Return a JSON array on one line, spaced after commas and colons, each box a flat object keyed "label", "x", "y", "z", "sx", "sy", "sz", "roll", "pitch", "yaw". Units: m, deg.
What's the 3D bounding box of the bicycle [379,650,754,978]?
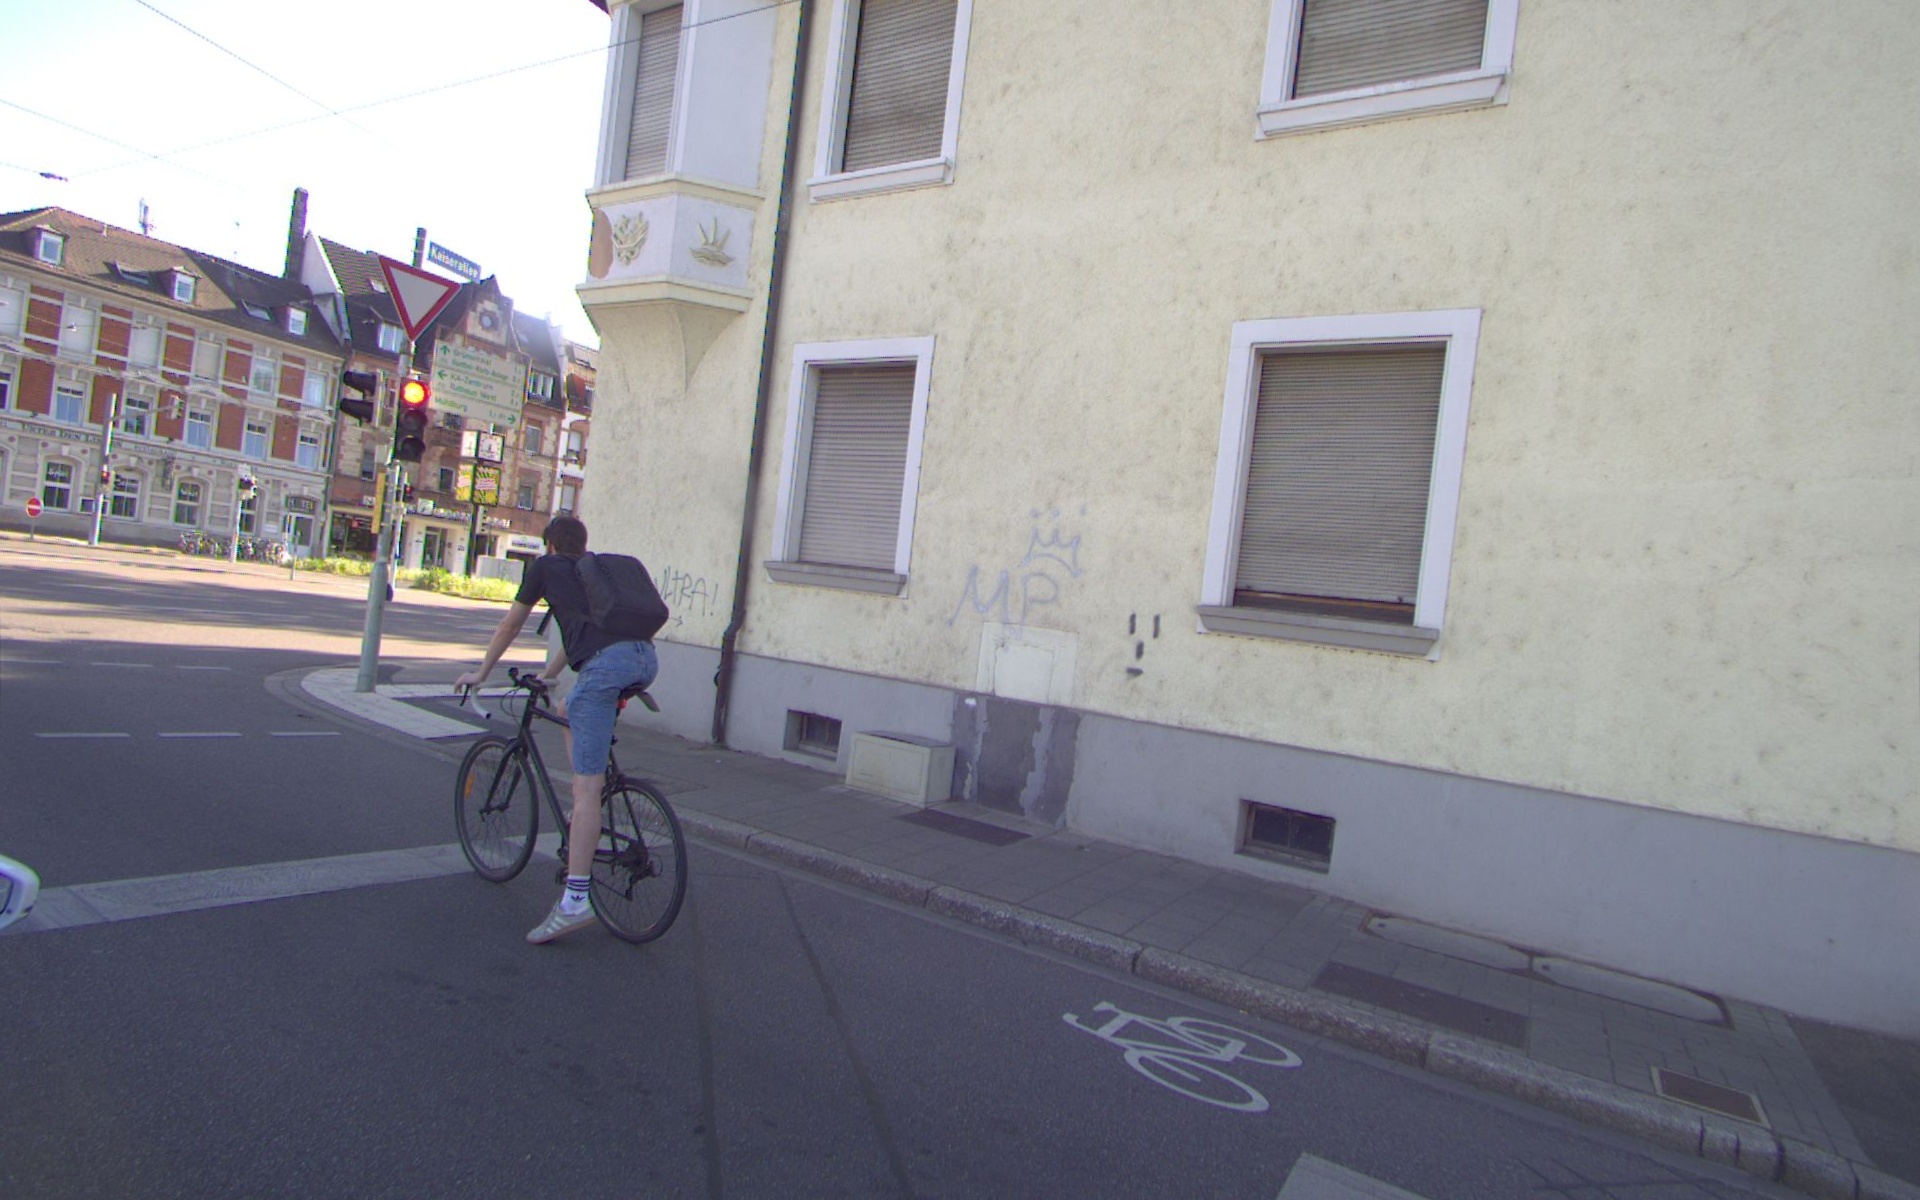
[{"label": "bicycle", "x": -1.797, "y": 0.855, "z": 4.485, "sx": 1.729, "sy": 1.029, "sz": 0.532, "roll": 7, "pitch": 0, "yaw": 32}]

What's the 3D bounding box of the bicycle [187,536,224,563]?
[{"label": "bicycle", "x": -34.642, "y": -2.324, "z": 46.189, "sx": 1.614, "sy": 1.064, "sz": 0.606, "roll": 7, "pitch": 0, "yaw": 27}]

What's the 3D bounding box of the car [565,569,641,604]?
[{"label": "car", "x": -23.118, "y": -0.857, "z": 65.302, "sx": 1.966, "sy": 1.674, "sz": 4.378, "roll": 7, "pitch": -1, "yaw": 29}]

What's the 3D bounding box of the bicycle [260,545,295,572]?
[{"label": "bicycle", "x": -32.977, "y": -2.009, "z": 48.582, "sx": 1.614, "sy": 1.064, "sz": 0.606, "roll": 7, "pitch": 0, "yaw": 27}]

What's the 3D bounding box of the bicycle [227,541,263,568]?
[{"label": "bicycle", "x": -33.645, "y": -2.147, "z": 47.335, "sx": 1.614, "sy": 1.064, "sz": 0.606, "roll": 7, "pitch": 0, "yaw": 27}]

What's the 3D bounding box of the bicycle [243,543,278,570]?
[{"label": "bicycle", "x": -33.351, "y": -2.083, "z": 47.945, "sx": 1.614, "sy": 1.064, "sz": 0.606, "roll": 7, "pitch": 0, "yaw": 27}]

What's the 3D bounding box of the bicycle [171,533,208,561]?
[{"label": "bicycle", "x": -34.942, "y": -2.387, "z": 45.606, "sx": 1.614, "sy": 1.064, "sz": 0.606, "roll": 7, "pitch": 0, "yaw": 27}]

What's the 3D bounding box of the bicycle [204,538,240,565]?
[{"label": "bicycle", "x": -34.312, "y": -2.257, "z": 46.764, "sx": 1.614, "sy": 1.064, "sz": 0.606, "roll": 7, "pitch": 0, "yaw": 27}]

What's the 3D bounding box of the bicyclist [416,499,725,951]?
[{"label": "bicyclist", "x": -1.738, "y": 0.490, "z": 4.481, "sx": 1.066, "sy": 1.751, "sz": 0.561, "roll": 6, "pitch": -1, "yaw": 32}]
